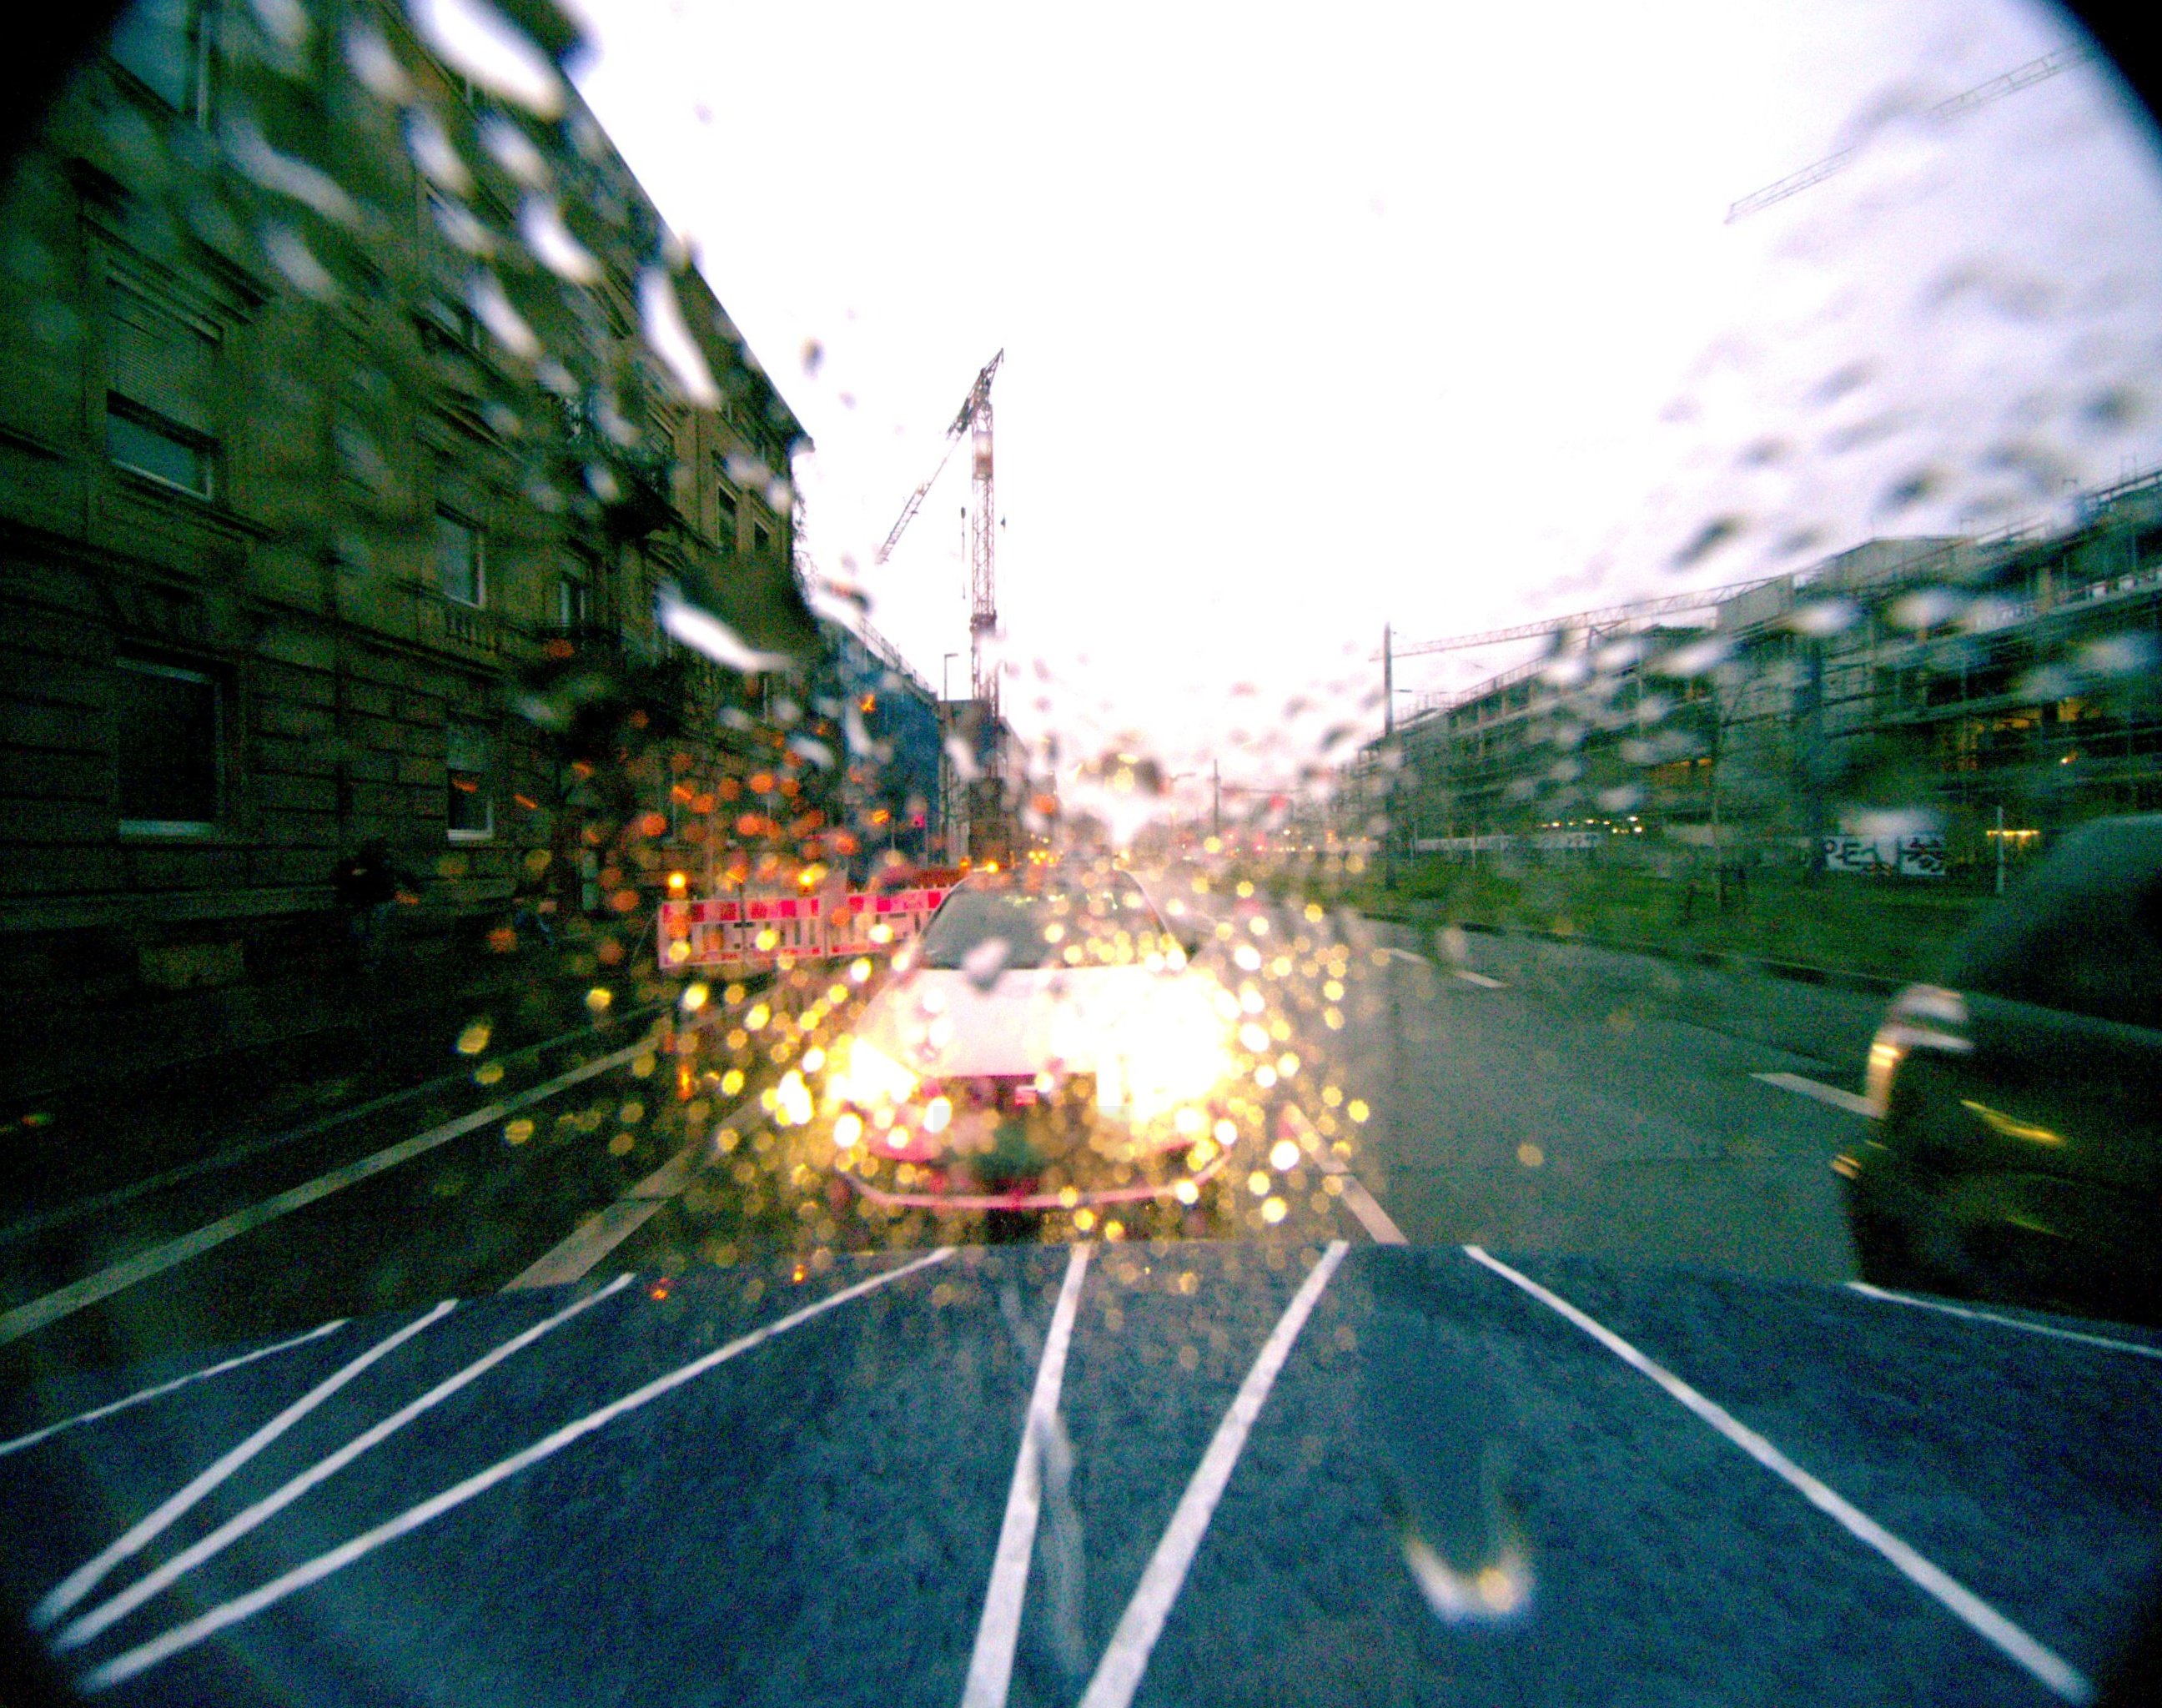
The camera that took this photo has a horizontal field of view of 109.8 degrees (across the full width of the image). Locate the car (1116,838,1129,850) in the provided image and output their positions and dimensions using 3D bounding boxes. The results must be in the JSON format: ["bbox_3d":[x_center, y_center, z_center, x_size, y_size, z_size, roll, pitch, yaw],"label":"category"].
[{"bbox_3d":[5.896,-1.396,107.029,1.768,1.614,3.900,-3,1,4],"label":"car"}]

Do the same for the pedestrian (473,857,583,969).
[{"bbox_3d":[-7.921,0.815,10.934,0.870,1.536,0.929,0,1,1],"label":"pedestrian"}]

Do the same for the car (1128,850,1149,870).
[{"bbox_3d":[5.253,0.511,69.717,1.768,1.614,3.900,-3,1,4],"label":"car"}]

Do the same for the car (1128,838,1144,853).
[{"bbox_3d":[6.297,-1.005,87.337,1.768,1.614,3.900,-3,1,4],"label":"car"}]

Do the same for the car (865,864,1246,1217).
[{"bbox_3d":[-0.126,0.929,5.614,1.769,1.504,3.899,-3,1,0],"label":"car"}]

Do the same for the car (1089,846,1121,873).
[{"bbox_3d":[1.487,0.321,48.289,1.769,1.504,3.899,-3,1,0],"label":"car"}]

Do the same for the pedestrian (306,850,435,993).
[{"bbox_3d":[-8.588,0.788,9.211,0.870,1.663,0.707,0,1,4],"label":"pedestrian"}]

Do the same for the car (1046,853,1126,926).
[{"bbox_3d":[0.111,0.818,19.335,1.769,1.504,3.899,-3,1,0],"label":"car"}]

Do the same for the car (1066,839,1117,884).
[{"bbox_3d":[0.368,0.233,28.943,1.769,1.504,3.899,-3,1,0],"label":"car"}]

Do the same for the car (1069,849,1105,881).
[{"bbox_3d":[0.319,0.558,40.804,1.769,1.504,3.899,-3,1,0],"label":"car"}]
